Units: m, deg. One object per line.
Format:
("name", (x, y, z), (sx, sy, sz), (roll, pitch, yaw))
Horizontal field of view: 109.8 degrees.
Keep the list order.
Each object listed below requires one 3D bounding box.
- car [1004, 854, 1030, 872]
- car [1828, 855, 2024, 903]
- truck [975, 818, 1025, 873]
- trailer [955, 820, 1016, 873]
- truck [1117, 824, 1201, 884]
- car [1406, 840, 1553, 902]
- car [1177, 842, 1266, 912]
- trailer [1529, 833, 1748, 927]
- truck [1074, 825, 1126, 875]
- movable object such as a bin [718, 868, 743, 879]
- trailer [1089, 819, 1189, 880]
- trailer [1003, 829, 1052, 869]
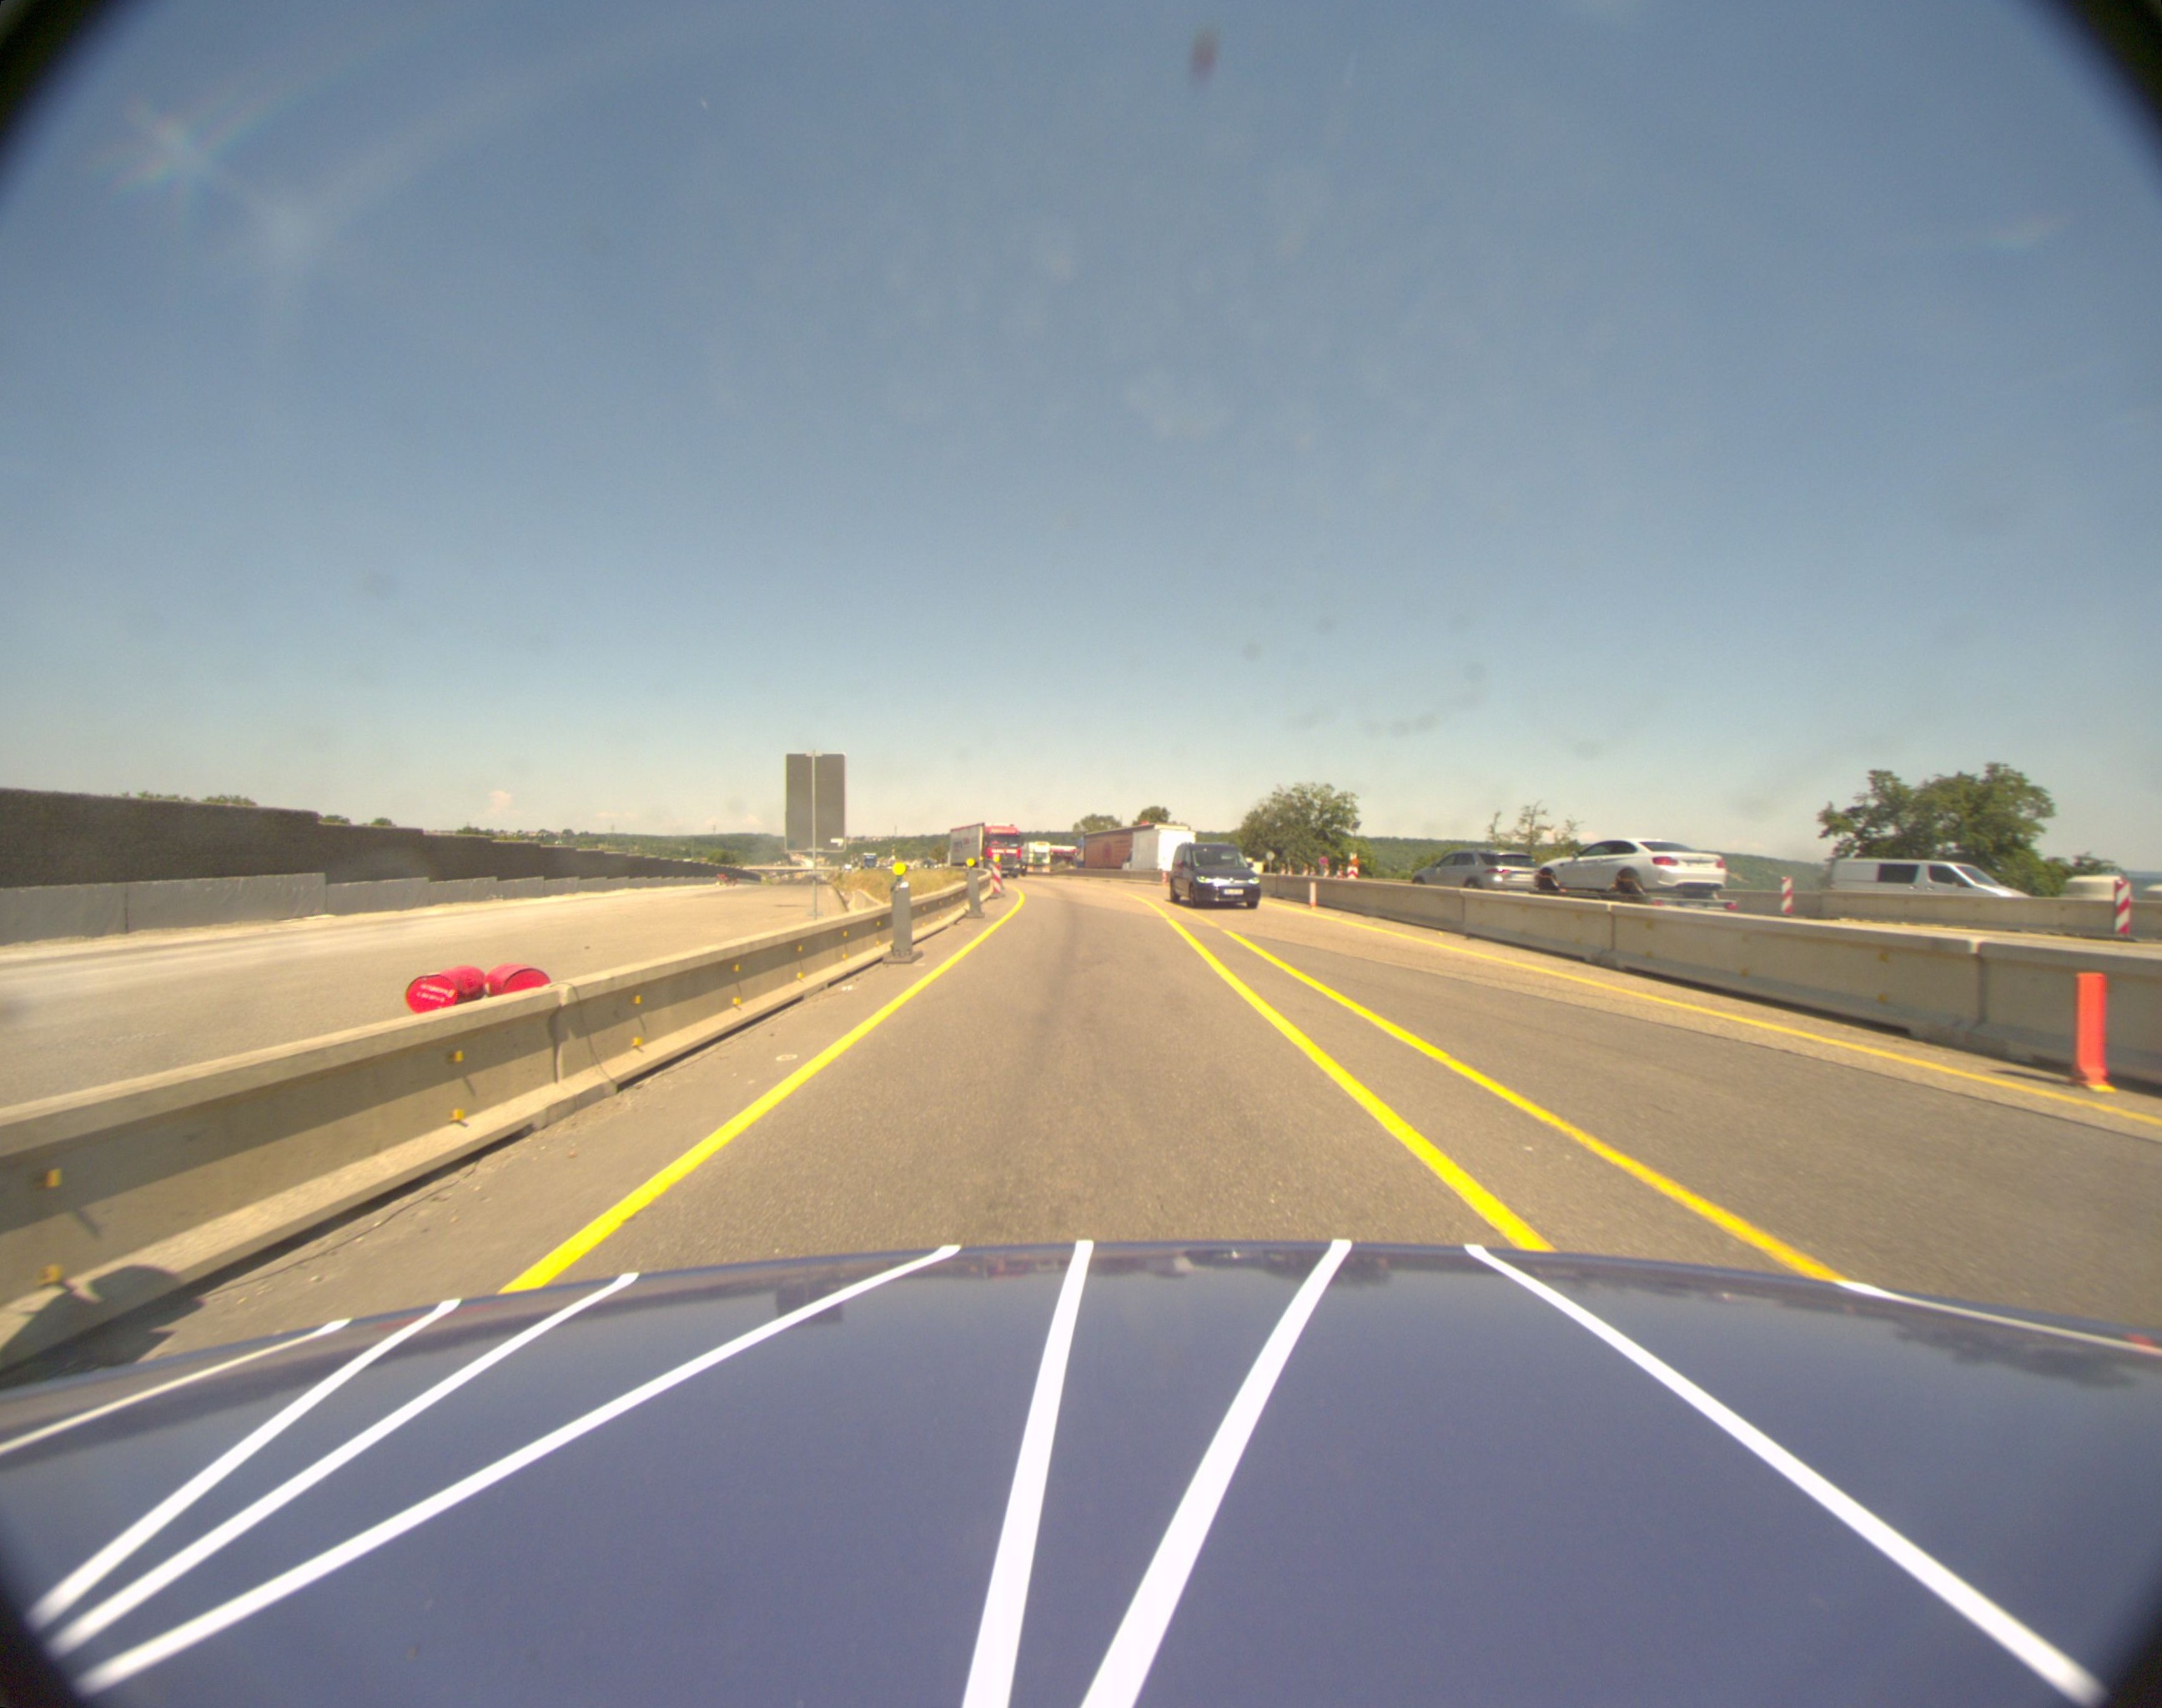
("car", (-5.611, 0.768, 66.079), (1.429, 1.477, 3.409), (0, 0, -19))
("car", (33.087, 0.909, 29.977), (1.727, 1.703, 4.876), (0, 0, -20))
("truck", (-5.971, -0.573, 55.535), (2.631, 3.880, 4.925), (0, 0, -18))
("trailer", (-7.984, -0.562, 61.631), (2.706, 3.852, 12.403), (0, 0, -18))
("truck", (4.599, -0.009, 46.334), (2.589, 3.361, 6.917), (0, 0, -17))
("car", (12.574, 0.506, 24.404), (1.871, 1.796, 4.905), (0, 0, -4))
("car", (3.903, 0.587, 21.857), (1.925, 1.779, 4.604), (-1, 0, 3))
("trailer", (13.244, 0.564, 18.478), (1.871, 2.010, 4.434), (0, 0, -3))
("truck", (1.569, -0.310, 65.291), (2.555, 4.057, 5.535), (0, 0, -20))
("movable object such as a bin", (-69.246, 3.827, 149.989), (1.757, 2.135, 4.143), (1, 0, 43))
("trailer", (4.075, -0.314, 58.218), (2.598, 4.127, 13.042), (0, 0, -19))
("trailer", (-6.225, -0.499, 86.169), (2.363, 4.127, 12.477), (0, 0, -19))
